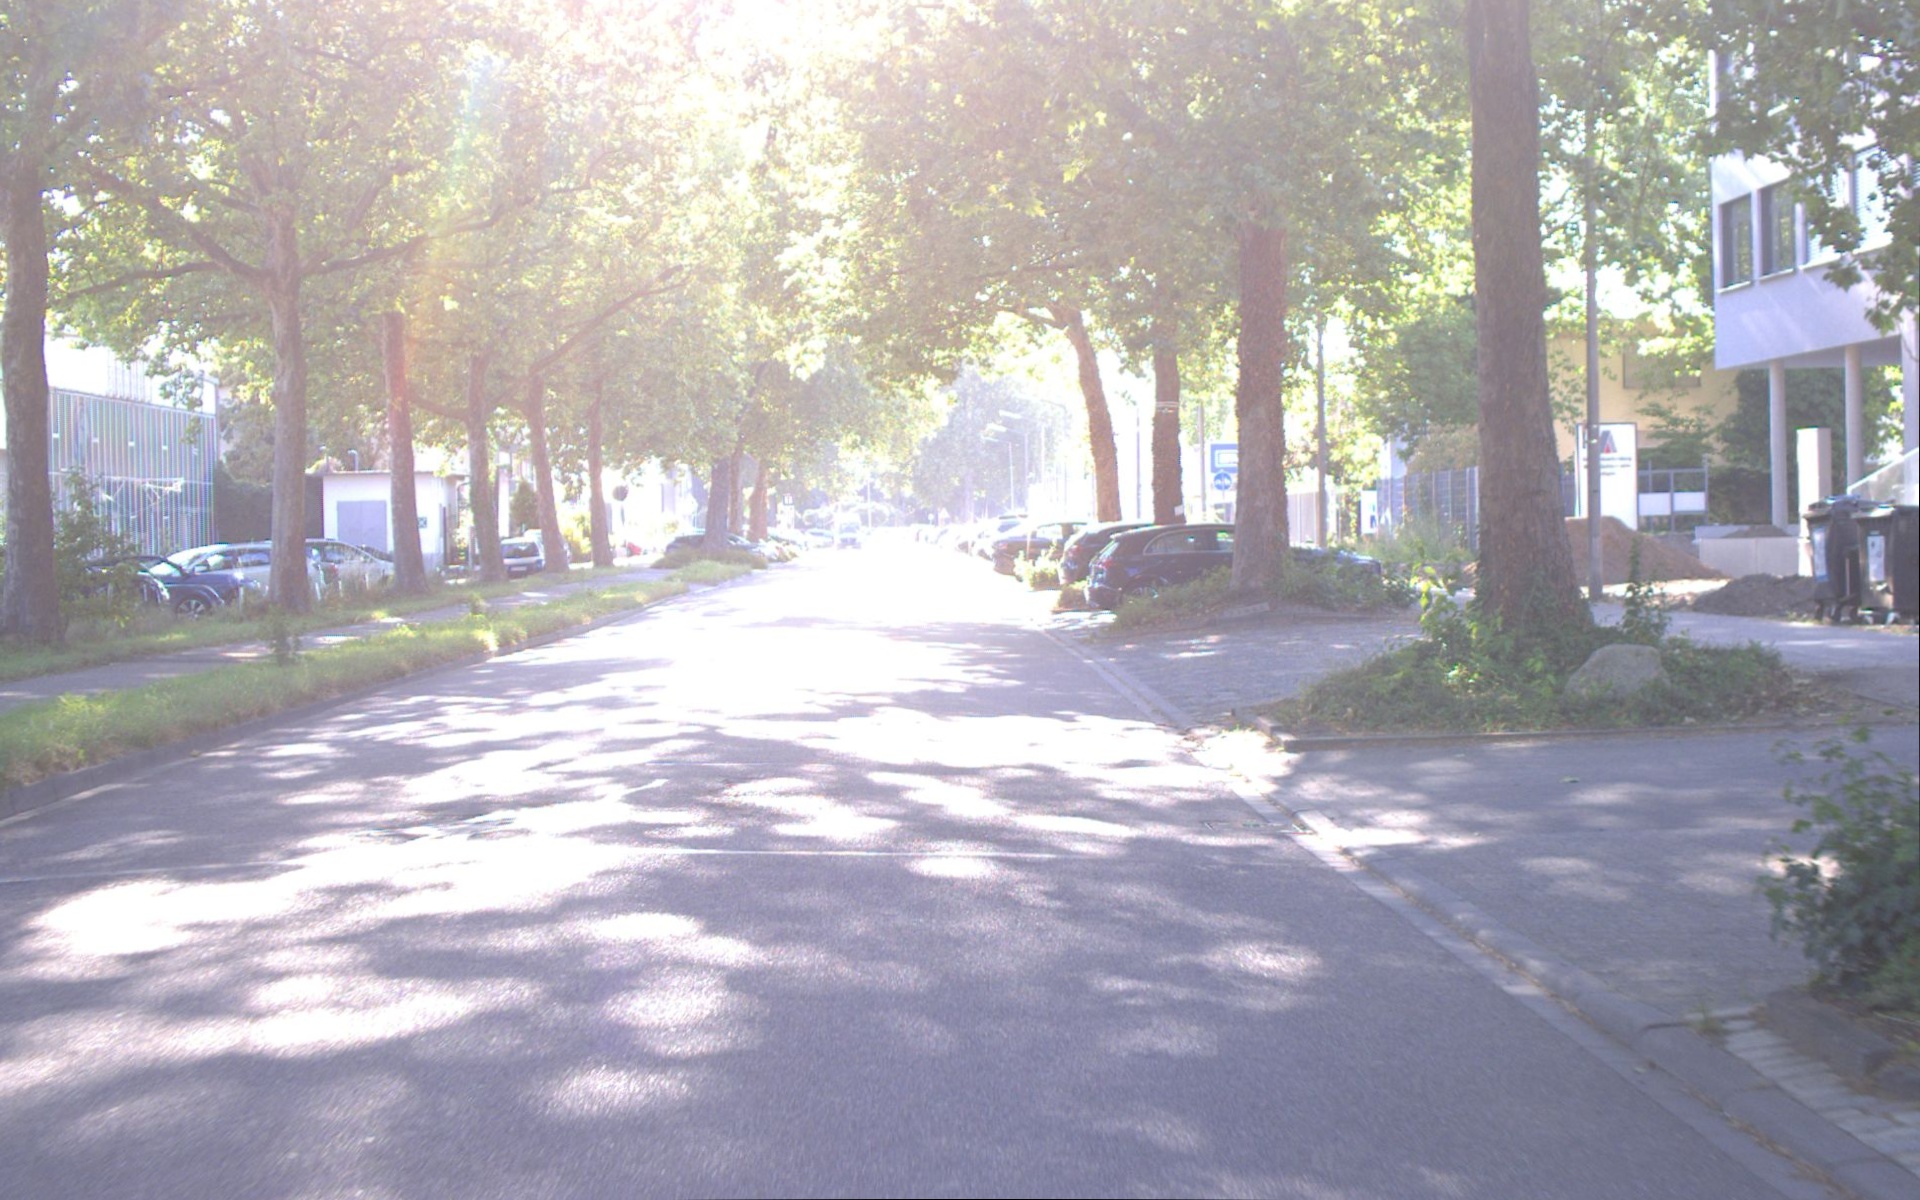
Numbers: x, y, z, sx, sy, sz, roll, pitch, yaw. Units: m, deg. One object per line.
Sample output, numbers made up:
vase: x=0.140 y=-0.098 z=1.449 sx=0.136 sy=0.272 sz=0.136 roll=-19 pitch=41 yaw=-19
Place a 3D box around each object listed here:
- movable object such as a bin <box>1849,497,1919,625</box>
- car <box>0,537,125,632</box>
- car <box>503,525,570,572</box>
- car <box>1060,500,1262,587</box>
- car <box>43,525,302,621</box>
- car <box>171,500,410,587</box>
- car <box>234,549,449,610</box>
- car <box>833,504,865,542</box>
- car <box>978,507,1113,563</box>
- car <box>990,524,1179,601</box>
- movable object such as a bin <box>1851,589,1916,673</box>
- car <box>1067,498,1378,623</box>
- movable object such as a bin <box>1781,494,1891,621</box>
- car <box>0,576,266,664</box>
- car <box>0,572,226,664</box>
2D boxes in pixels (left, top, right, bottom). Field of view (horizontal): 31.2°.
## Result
movable object such as a bin: x=9.584 y=-0.391 z=34.755 sx=0.747 sy=1.259 sz=1.611 roll=1 pitch=0 yaw=-1
car: x=-15.317 y=-0.258 z=53.105 sx=4.250 sy=1.447 sz=1.999 roll=0 pitch=1 yaw=-39
car: x=-13.979 y=-1.688 z=113.684 sx=1.993 sy=1.365 sz=3.921 roll=-5 pitch=1 yaw=-5
car: x=3.992 y=-1.122 z=68.842 sx=3.784 sy=1.481 sz=1.861 roll=-4 pitch=1 yaw=-2
car: x=-14.449 y=-0.488 z=63.226 sx=1.998 sy=1.693 sz=4.252 roll=1 pitch=1 yaw=43
car: x=-13.109 y=-1.100 z=67.490 sx=1.998 sy=1.624 sz=4.252 roll=1 pitch=1 yaw=42
car: x=-14.243 y=-0.489 z=79.320 sx=4.472 sy=1.301 sz=1.999 roll=-2 pitch=2 yaw=-42
car: x=-7.813 y=-5.453 z=243.263 sx=2.127 sy=2.650 sz=7.002 roll=-1 pitch=2 yaw=-1
car: x=3.041 y=-2.334 z=123.115 sx=4.624 sy=1.706 sz=2.000 roll=-4 pitch=1 yaw=-2
car: x=3.177 y=-0.969 z=88.412 sx=4.569 sy=1.710 sz=1.944 roll=-3 pitch=1 yaw=-4
movable object such as a bin: x=9.789 y=0.320 z=36.466 sx=0.492 sy=0.872 sz=0.634 roll=1 pitch=0 yaw=-2
car: x=3.840 y=-0.590 z=50.758 sx=4.283 sy=1.481 sz=1.861 roll=-4 pitch=1 yaw=-2
movable object such as a bin: x=9.567 y=-0.463 z=37.602 sx=0.747 sy=1.346 sz=1.621 roll=1 pitch=0 yaw=-1
car: x=-13.906 y=0.322 z=56.995 sx=4.250 sy=1.377 sz=1.999 roll=0 pitch=1 yaw=-39
car: x=-14.467 y=0.278 z=56.474 sx=4.250 sy=1.447 sz=1.999 roll=0 pitch=1 yaw=-39
